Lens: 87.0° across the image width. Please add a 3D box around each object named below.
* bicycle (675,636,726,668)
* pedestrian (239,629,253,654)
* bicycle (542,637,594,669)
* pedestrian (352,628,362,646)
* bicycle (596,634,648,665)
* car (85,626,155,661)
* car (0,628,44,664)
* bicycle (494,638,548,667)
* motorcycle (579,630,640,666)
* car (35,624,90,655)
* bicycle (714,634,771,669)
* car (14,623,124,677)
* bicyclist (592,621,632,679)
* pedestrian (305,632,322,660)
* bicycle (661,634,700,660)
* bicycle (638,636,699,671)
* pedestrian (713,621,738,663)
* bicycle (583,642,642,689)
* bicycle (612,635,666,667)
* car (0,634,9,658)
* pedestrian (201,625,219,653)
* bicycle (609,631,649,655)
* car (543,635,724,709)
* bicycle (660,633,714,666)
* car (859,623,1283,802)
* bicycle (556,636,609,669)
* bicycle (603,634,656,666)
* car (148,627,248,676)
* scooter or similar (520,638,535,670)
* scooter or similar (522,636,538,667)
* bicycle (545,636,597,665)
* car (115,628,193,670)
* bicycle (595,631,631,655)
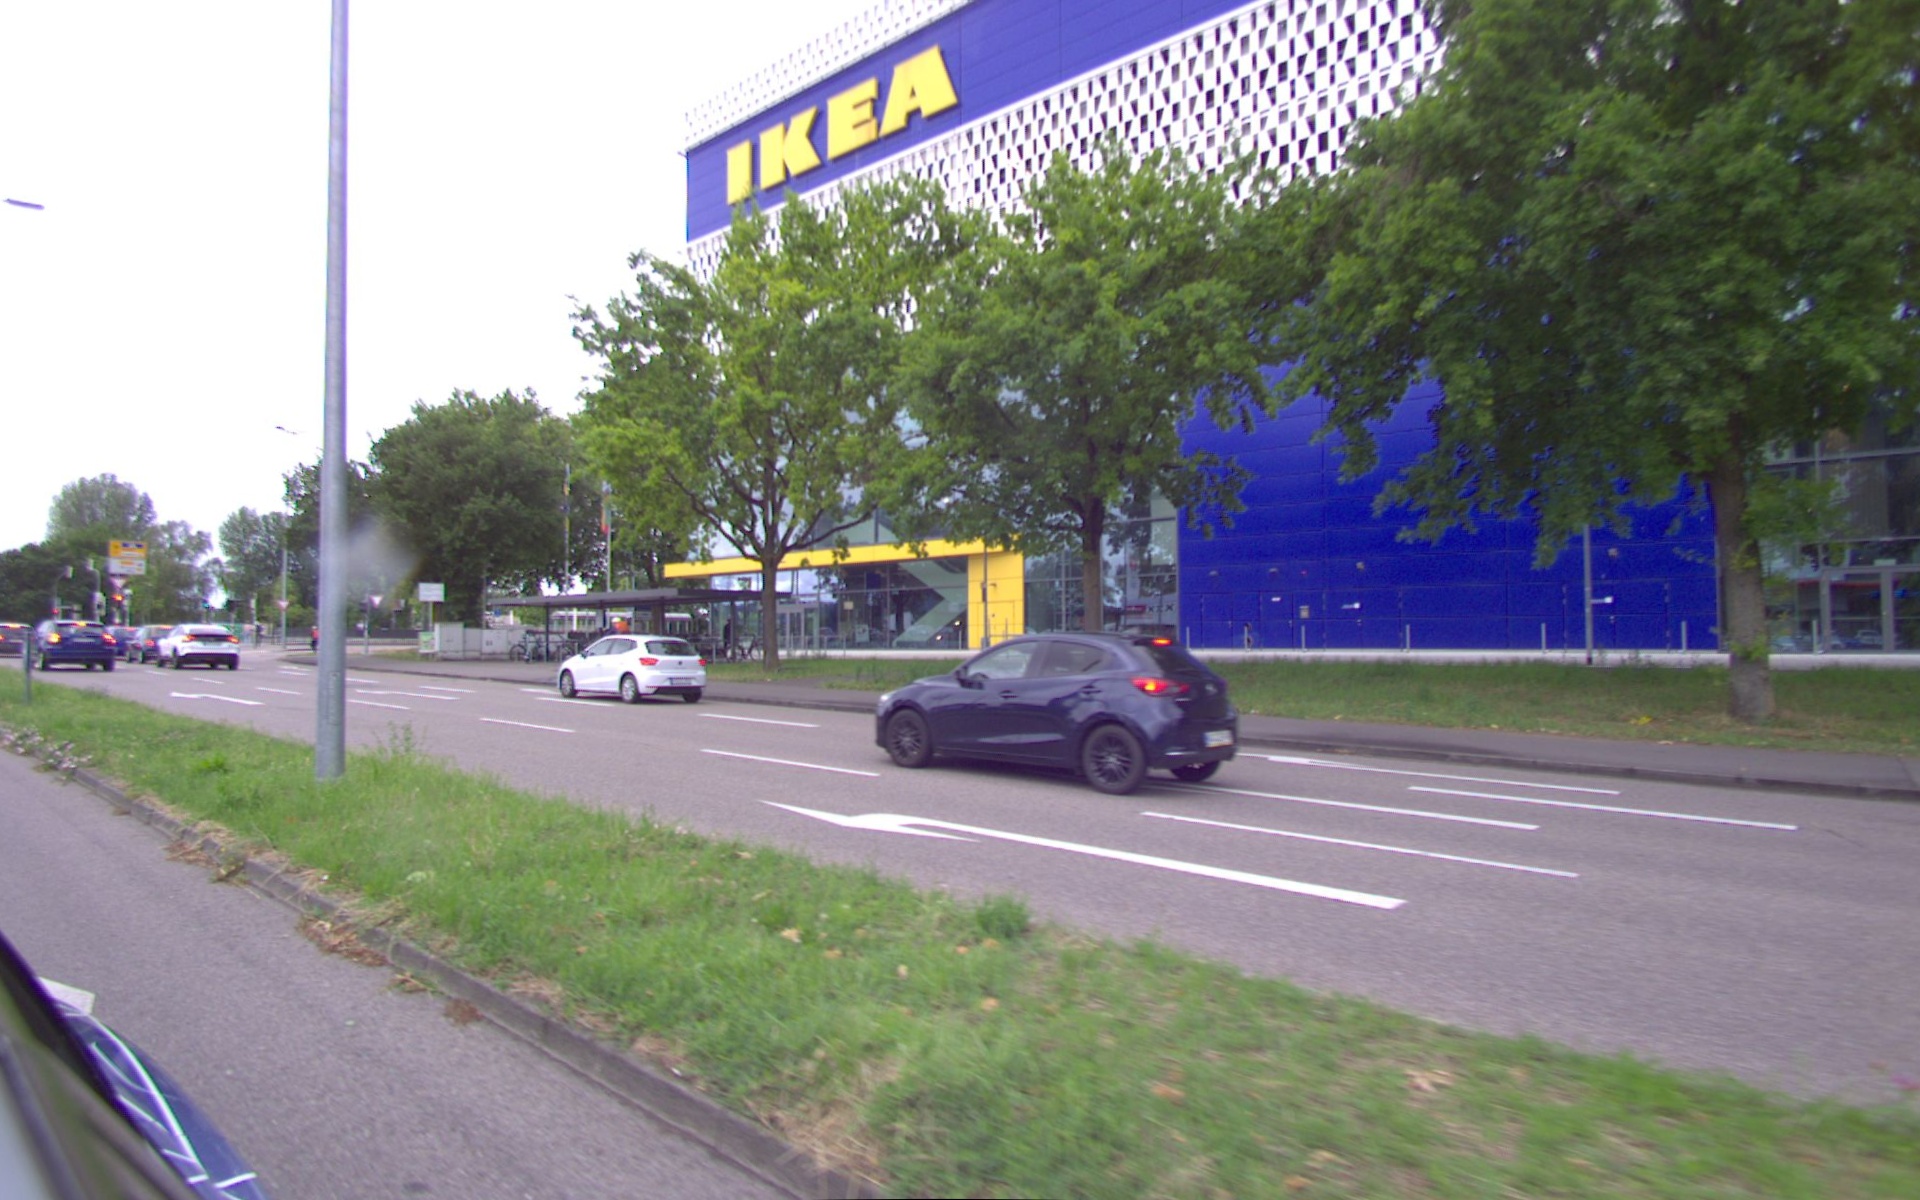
[{"bbox_3d":[-9.611,1.913,37.576,0.593,1.090,1.791,-2,-1,41],"label":"bicycle"},{"bbox_3d":[-49.938,2.912,70.809,0.766,1.725,0.666,-1,-2,45],"label":"pedestrian"},{"bbox_3d":[-15.536,2.071,40.124,0.593,1.165,1.874,-2,-1,41],"label":"bicycle"},{"bbox_3d":[-54.037,3.298,90.681,0.711,1.572,0.623,-5,-4,43],"label":"pedestrian"},{"bbox_3d":[-13.818,2.026,41.389,0.593,1.165,1.995,-2,-1,41],"label":"bicycle"},{"bbox_3d":[-35.996,1.861,43.358,4.141,1.455,1.586,-2,-4,41],"label":"car"},{"bbox_3d":[-40.399,1.918,42.725,4.427,1.447,1.864,-1,-3,39],"label":"car"},{"bbox_3d":[-18.313,2.179,42.279,0.593,1.165,1.994,-2,-2,41],"label":"bicycle"},{"bbox_3d":[-14.621,1.982,42.301,0.796,1.365,2.476,-2,0,28],"label":"motorcycle"},{"bbox_3d":[-45.449,2.004,51.249,3.207,1.514,1.586,-2,-3,40],"label":"car"},{"bbox_3d":[-7.792,1.826,36.343,0.594,1.131,1.993,-2,-1,43],"label":"bicycle"},{"bbox_3d":[-27.654,1.532,31.367,4.437,1.497,1.911,0,-3,41],"label":"car"},{"bbox_3d":[-9.838,1.413,28.591,0.999,1.589,0.633,-2,-1,41],"label":"bicyclist"},{"bbox_3d":[-38.595,2.743,60.412,0.808,1.655,0.627,1,-1,39],"label":"pedestrian"},{"bbox_3d":[-13.549,2.251,49.095,0.591,1.165,2.003,-2,-1,28],"label":"bicycle"},{"bbox_3d":[-10.424,1.902,36.265,1.988,1.165,0.595,-1,-1,-35],"label":"bicycle"},{"bbox_3d":[-10.067,1.791,43.433,0.808,1.759,0.670,-2,-2,41],"label":"pedestrian"},{"bbox_3d":[-9.835,1.826,28.614,2.055,1.260,0.636,-2,-1,41],"label":"bicycle"},{"bbox_3d":[-12.610,1.998,39.833,0.593,1.165,1.995,-2,-1,41],"label":"bicycle"},{"bbox_3d":[-61.412,2.914,63.822,4.370,1.419,1.654,-4,-4,41],"label":"car"},{"bbox_3d":[-49.316,2.550,66.508,0.686,1.778,0.656,3,-2,38],"label":"pedestrian"},{"bbox_3d":[-17.178,2.217,52.536,0.593,1.165,1.996,-2,-1,39],"label":"bicycle"},{"bbox_3d":[-7.261,1.537,22.347,4.165,1.465,1.847,-1,-4,40],"label":"car"},{"bbox_3d":[-10.429,1.886,38.682,0.593,1.165,1.995,-2,-1,41],"label":"bicycle"},{"bbox_3d":[1.005,1.030,10.268,3.997,1.464,1.739,-2,-5,41],"label":"car"},{"bbox_3d":[-14.705,2.021,39.434,0.593,1.165,1.874,-2,-1,41],"label":"bicycle"},{"bbox_3d":[-13.332,2.008,40.869,0.593,1.165,1.995,-2,-1,41],"label":"bicycle"},{"bbox_3d":[-26.470,1.745,35.107,4.180,1.530,1.911,0,-2,41],"label":"car"},{"bbox_3d":[-17.040,2.117,39.879,0.417,1.157,1.353,-1,0,-17],"label":"scooter or similar"},{"bbox_3d":[-17.718,2.115,41.691,0.353,1.194,1.296,-1,-1,-11],"label":"scooter or similar"},{"bbox_3d":[-16.802,2.165,43.715,1.988,1.165,0.595,-1,0,-33],"label":"bicycle"},{"bbox_3d":[-31.529,1.901,39.566,4.035,1.509,1.586,-1,-4,41],"label":"car"},{"bbox_3d":[-18.256,2.264,53.270,0.590,1.165,2.005,-1,-1,24],"label":"bicycle"}]
